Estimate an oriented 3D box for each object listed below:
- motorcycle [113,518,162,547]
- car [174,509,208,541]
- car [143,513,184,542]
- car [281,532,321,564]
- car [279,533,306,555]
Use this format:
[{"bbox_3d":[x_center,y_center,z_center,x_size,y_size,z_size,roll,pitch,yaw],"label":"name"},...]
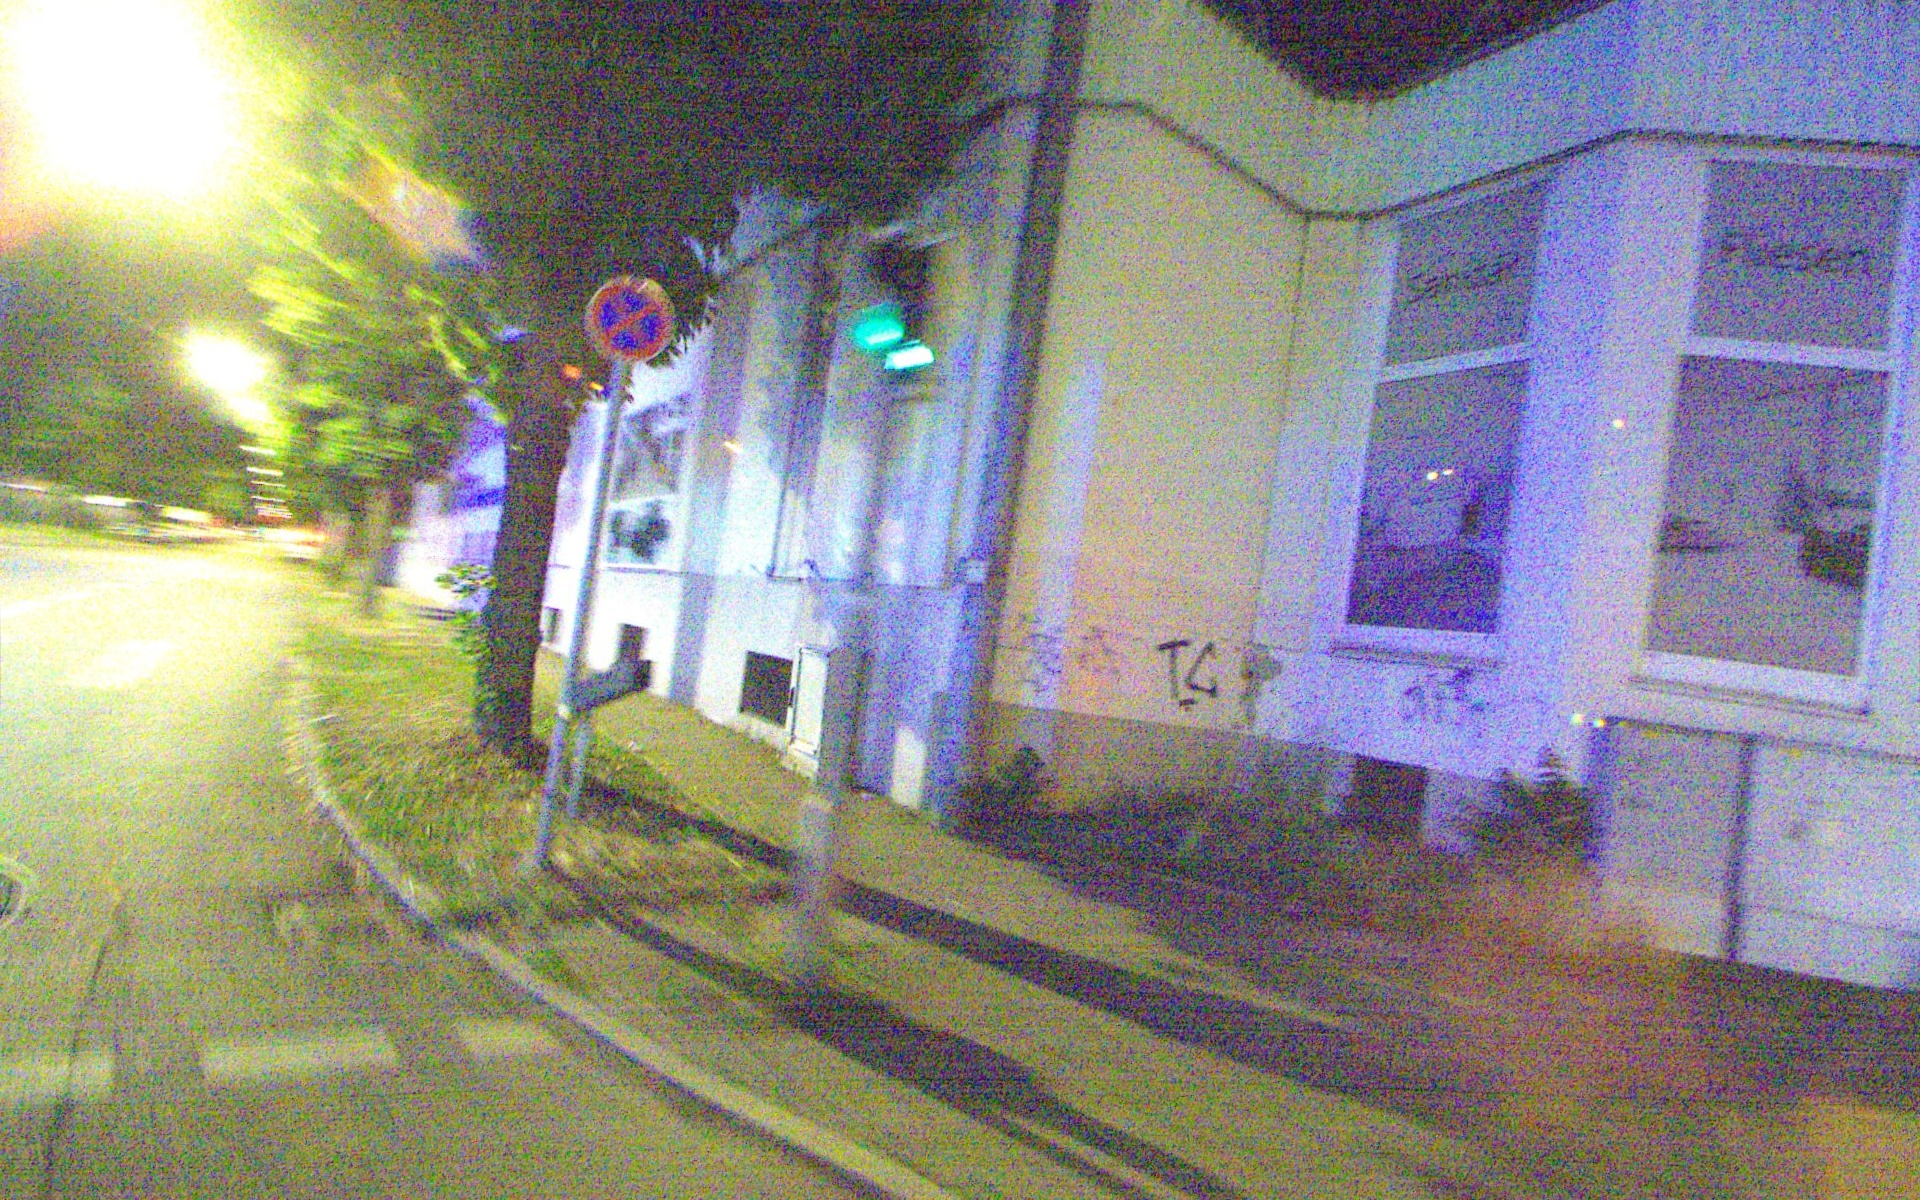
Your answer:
[{"bbox_3d":[-49.722,-4.085,60.849,0.861,1.408,2.021,6,-2,26],"label":"motorcycle"},{"bbox_3d":[-69.997,-6.783,91.596,1.982,2.443,4.443,8,-2,-35],"label":"car"},{"bbox_3d":[-61.446,-5.583,77.681,1.981,1.864,3.965,8,-2,-33],"label":"car"},{"bbox_3d":[-49.014,-3.904,74.816,1.985,2.037,3.959,8,-2,-38],"label":"car"},{"bbox_3d":[-72.740,-6.080,109.551,1.985,2.037,3.959,8,-2,-38],"label":"car"}]
